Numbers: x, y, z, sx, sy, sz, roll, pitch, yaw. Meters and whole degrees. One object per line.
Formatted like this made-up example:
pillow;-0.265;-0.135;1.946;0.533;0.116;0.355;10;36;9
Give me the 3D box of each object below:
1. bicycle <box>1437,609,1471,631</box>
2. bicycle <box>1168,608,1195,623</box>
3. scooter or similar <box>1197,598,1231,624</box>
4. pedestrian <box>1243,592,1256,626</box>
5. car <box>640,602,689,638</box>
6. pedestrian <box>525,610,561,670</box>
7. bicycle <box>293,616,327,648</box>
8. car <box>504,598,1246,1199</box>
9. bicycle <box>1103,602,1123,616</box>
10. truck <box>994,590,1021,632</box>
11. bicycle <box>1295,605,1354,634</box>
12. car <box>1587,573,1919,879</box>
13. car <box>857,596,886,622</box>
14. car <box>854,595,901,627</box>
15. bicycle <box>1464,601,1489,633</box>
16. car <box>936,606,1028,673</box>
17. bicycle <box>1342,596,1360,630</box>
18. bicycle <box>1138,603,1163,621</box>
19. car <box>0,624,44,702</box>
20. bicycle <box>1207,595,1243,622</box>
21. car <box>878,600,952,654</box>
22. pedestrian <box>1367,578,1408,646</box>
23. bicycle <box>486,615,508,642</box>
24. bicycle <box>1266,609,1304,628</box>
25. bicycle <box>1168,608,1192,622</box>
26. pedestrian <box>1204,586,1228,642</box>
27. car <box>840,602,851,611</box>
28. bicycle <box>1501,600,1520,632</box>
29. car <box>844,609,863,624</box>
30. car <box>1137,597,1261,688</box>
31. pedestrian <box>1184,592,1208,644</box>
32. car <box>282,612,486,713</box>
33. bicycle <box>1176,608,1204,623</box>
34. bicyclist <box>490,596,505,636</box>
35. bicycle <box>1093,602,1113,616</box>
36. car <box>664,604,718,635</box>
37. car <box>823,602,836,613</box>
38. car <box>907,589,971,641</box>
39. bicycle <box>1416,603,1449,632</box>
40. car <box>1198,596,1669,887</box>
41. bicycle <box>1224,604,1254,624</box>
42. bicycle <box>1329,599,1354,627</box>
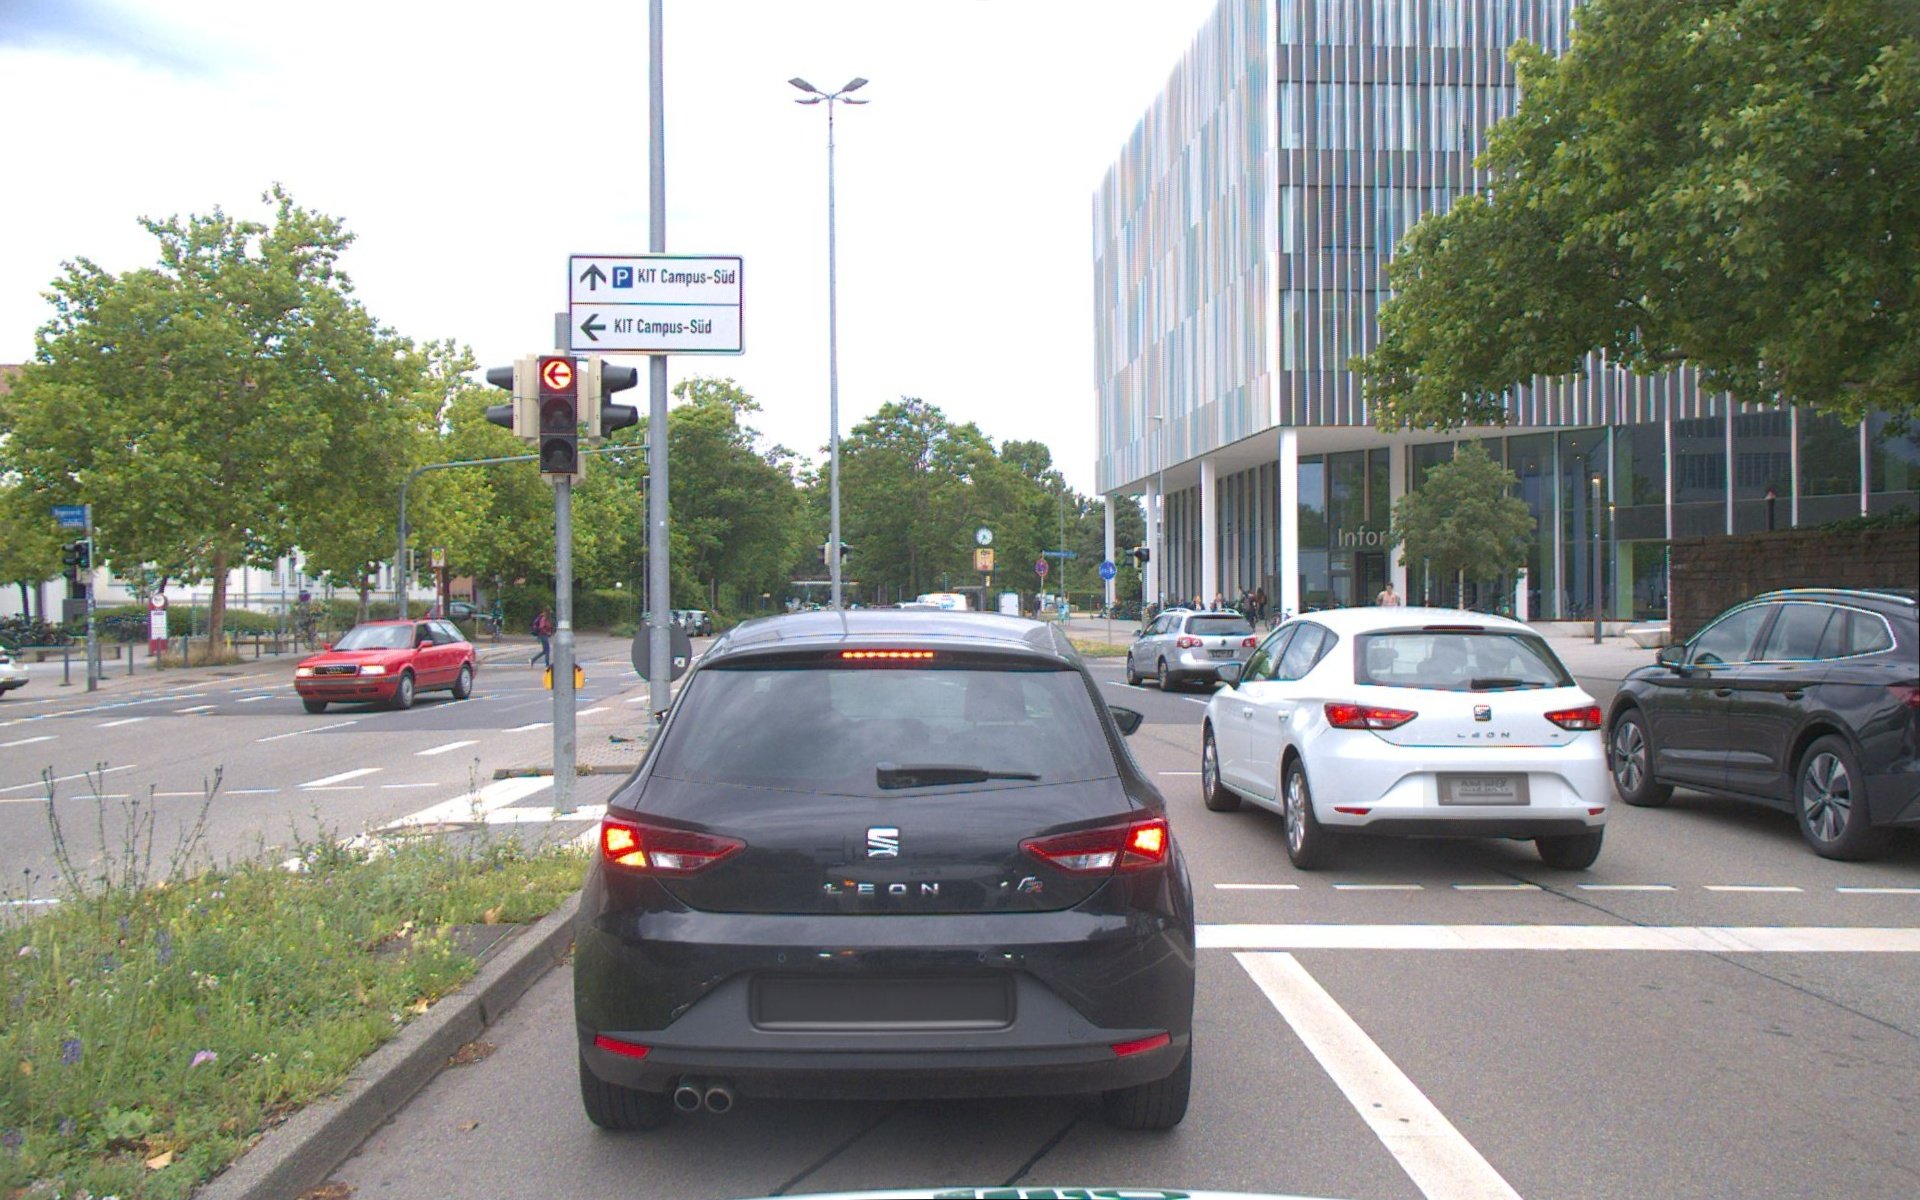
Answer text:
bicycle;18.196;0.723;60.911;1.515;0.728;0.511;-3;1;-44
bicycle;11.551;0.804;86.155;1.345;0.717;0.489;-2;0;8
scooter or similar;12.073;0.522;78.484;1.655;1.126;0.493;-2;0;-33
pedestrian;12.043;0.372;68.829;0.462;1.385;0.446;-2;0;9
car;-15.345;1.019;86.031;1.868;1.747;3.999;-2;1;-1
pedestrian;-11.536;1.098;45.743;0.858;1.614;0.542;-2;0;-8
bicycle;-23.257;1.133;59.188;0.596;1.079;2.041;-2;0;-7
car;-0.150;0.740;5.738;1.717;1.457;3.770;1;0;1
bicycle;9.921;0.574;107.002;1.218;0.837;0.479;2;-1;-23
truck;2.708;0.620;94.857;1.291;2.282;3.401;-2;0;-1
bicycle;12.421;0.663;56.374;1.860;0.914;0.693;-2;0;-22
car;6.059;0.692;11.087;1.869;1.653;4.489;1;0;-2
car;-6.133;0.626;115.132;1.876;1.693;4.113;-2;1;-1
car;-4.533;0.579;90.005;1.916;1.652;3.736;1;1;-13
bicycle;18.712;0.590;59.877;0.792;1.074;1.950;-2;1;19
car;0.472;0.900;39.503;1.689;1.439;4.240;1;1;-6
bicycle;15.289;0.509;64.615;0.515;1.275;1.667;-2;0;17
bicycle;10.587;0.640;92.008;1.357;0.958;0.488;-1;0;6
car;-20.096;1.280;31.669;4.147;1.456;1.702;-2;0;-17
bicycle;12.481;0.393;77.912;1.758;1.232;0.563;-2;0;-35
car;-1.475;0.824;52.639;1.698;1.631;4.094;0;0;-11
pedestrian;11.450;0.318;44.308;0.830;1.795;0.767;-2;0;-1
bicycle;-19.320;1.182;69.087;0.478;1.023;1.590;1;1;-1
bicycle;13.727;0.777;69.801;1.450;0.761;0.565;-2;0;-4
bicycle;11.585;0.787;87.047;1.213;0.717;0.489;-2;0;8
pedestrian;8.334;0.440;53.807;0.673;1.812;0.677;0;0;-1
car;-16.724;0.995;241.994;1.475;1.214;3.160;-2;1;-4
bicycle;19.617;0.555;58.965;0.609;1.074;1.950;-2;1;19
car;-10.665;1.634;165.636;1.861;1.377;3.879;-2;1;-4
car;4.463;0.802;31.487;1.787;1.578;4.527;1;-1;1
pedestrian;7.659;0.566;53.735;0.673;1.668;0.632;1;0;-1
car;-9.514;0.986;27.681;1.678;1.443;4.296;-2;0;3
bicycle;11.758;0.776;84.689;1.346;0.717;0.416;-2;0;2
bicyclist;-19.310;0.674;69.069;0.481;1.653;0.588;1;1;-1
bicycle;9.424;0.587;109.100;1.241;0.863;0.479;2;-1;-23
car;-15.537;1.095;95.668;1.721;1.615;4.004;-2;1;12
car;-18.765;1.087;237.907;1.663;1.530;4.003;-2;1;-7
car;-0.900;0.578;67.327;1.930;2.007;4.333;1;0;-10
bicycle;17.594;0.642;61.561;0.682;0.963;1.981;-2;1;29
car;2.717;0.726;10.431;1.745;1.488;3.869;0;0;-2
bicycle;12.839;0.648;76.210;1.421;0.872;0.361;-2;0;-28
bicycle;15.541;0.538;67.412;0.607;1.064;1.704;-2;1;25
